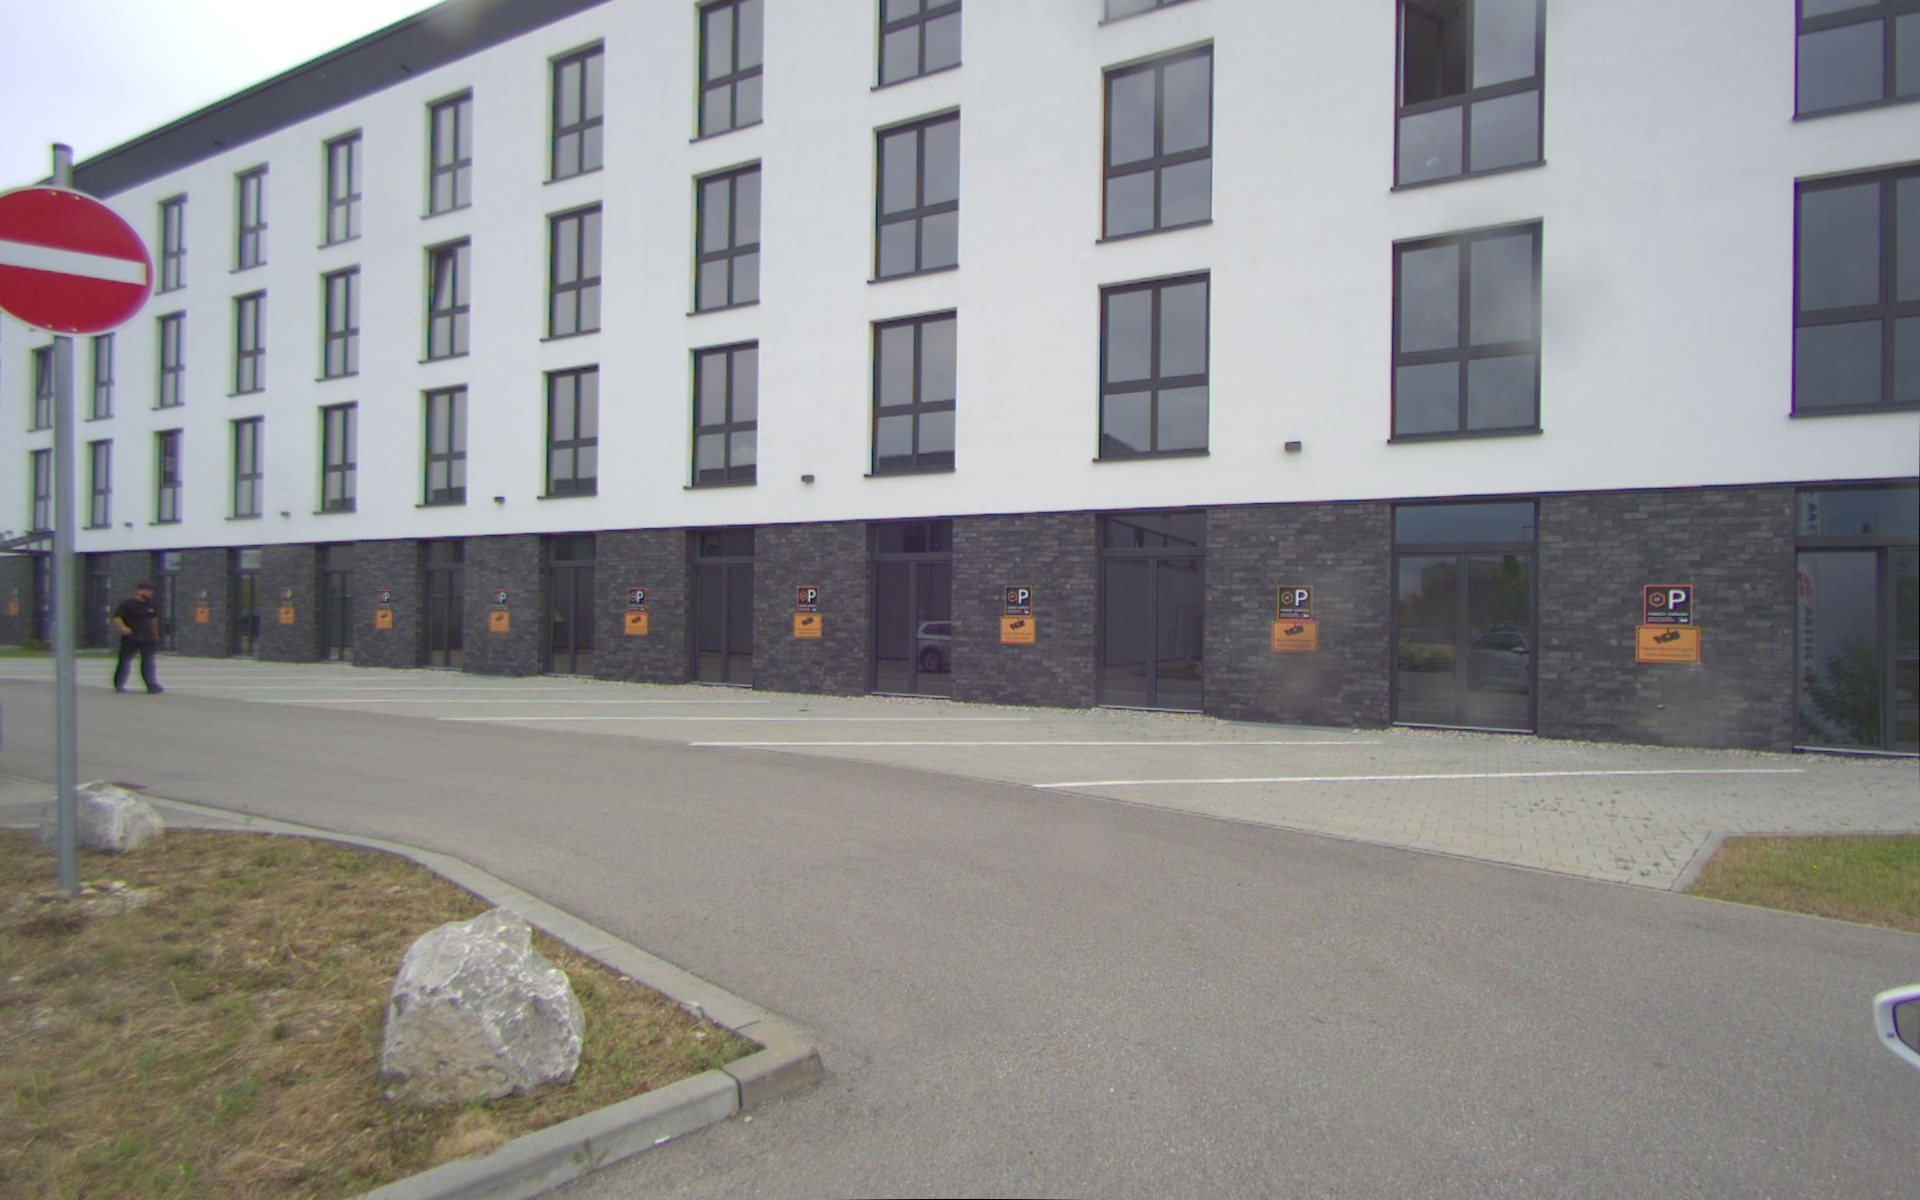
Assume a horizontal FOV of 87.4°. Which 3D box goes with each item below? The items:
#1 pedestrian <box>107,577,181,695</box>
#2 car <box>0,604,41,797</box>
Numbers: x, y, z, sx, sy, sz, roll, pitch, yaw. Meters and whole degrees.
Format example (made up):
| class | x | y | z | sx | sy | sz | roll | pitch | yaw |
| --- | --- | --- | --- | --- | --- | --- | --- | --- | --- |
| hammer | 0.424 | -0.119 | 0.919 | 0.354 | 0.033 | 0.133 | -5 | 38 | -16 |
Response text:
| class | x | y | z | sx | sy | sz | roll | pitch | yaw |
| --- | --- | --- | --- | --- | --- | --- | --- | --- | --- |
| pedestrian | -13.155 | 0.565 | 16.202 | 0.799 | 1.846 | 0.707 | 0 | -1 | 35 |
| car | -9.885 | 0.746 | 8.635 | 4.693 | 1.511 | 1.975 | 0 | -3 | 36 |
